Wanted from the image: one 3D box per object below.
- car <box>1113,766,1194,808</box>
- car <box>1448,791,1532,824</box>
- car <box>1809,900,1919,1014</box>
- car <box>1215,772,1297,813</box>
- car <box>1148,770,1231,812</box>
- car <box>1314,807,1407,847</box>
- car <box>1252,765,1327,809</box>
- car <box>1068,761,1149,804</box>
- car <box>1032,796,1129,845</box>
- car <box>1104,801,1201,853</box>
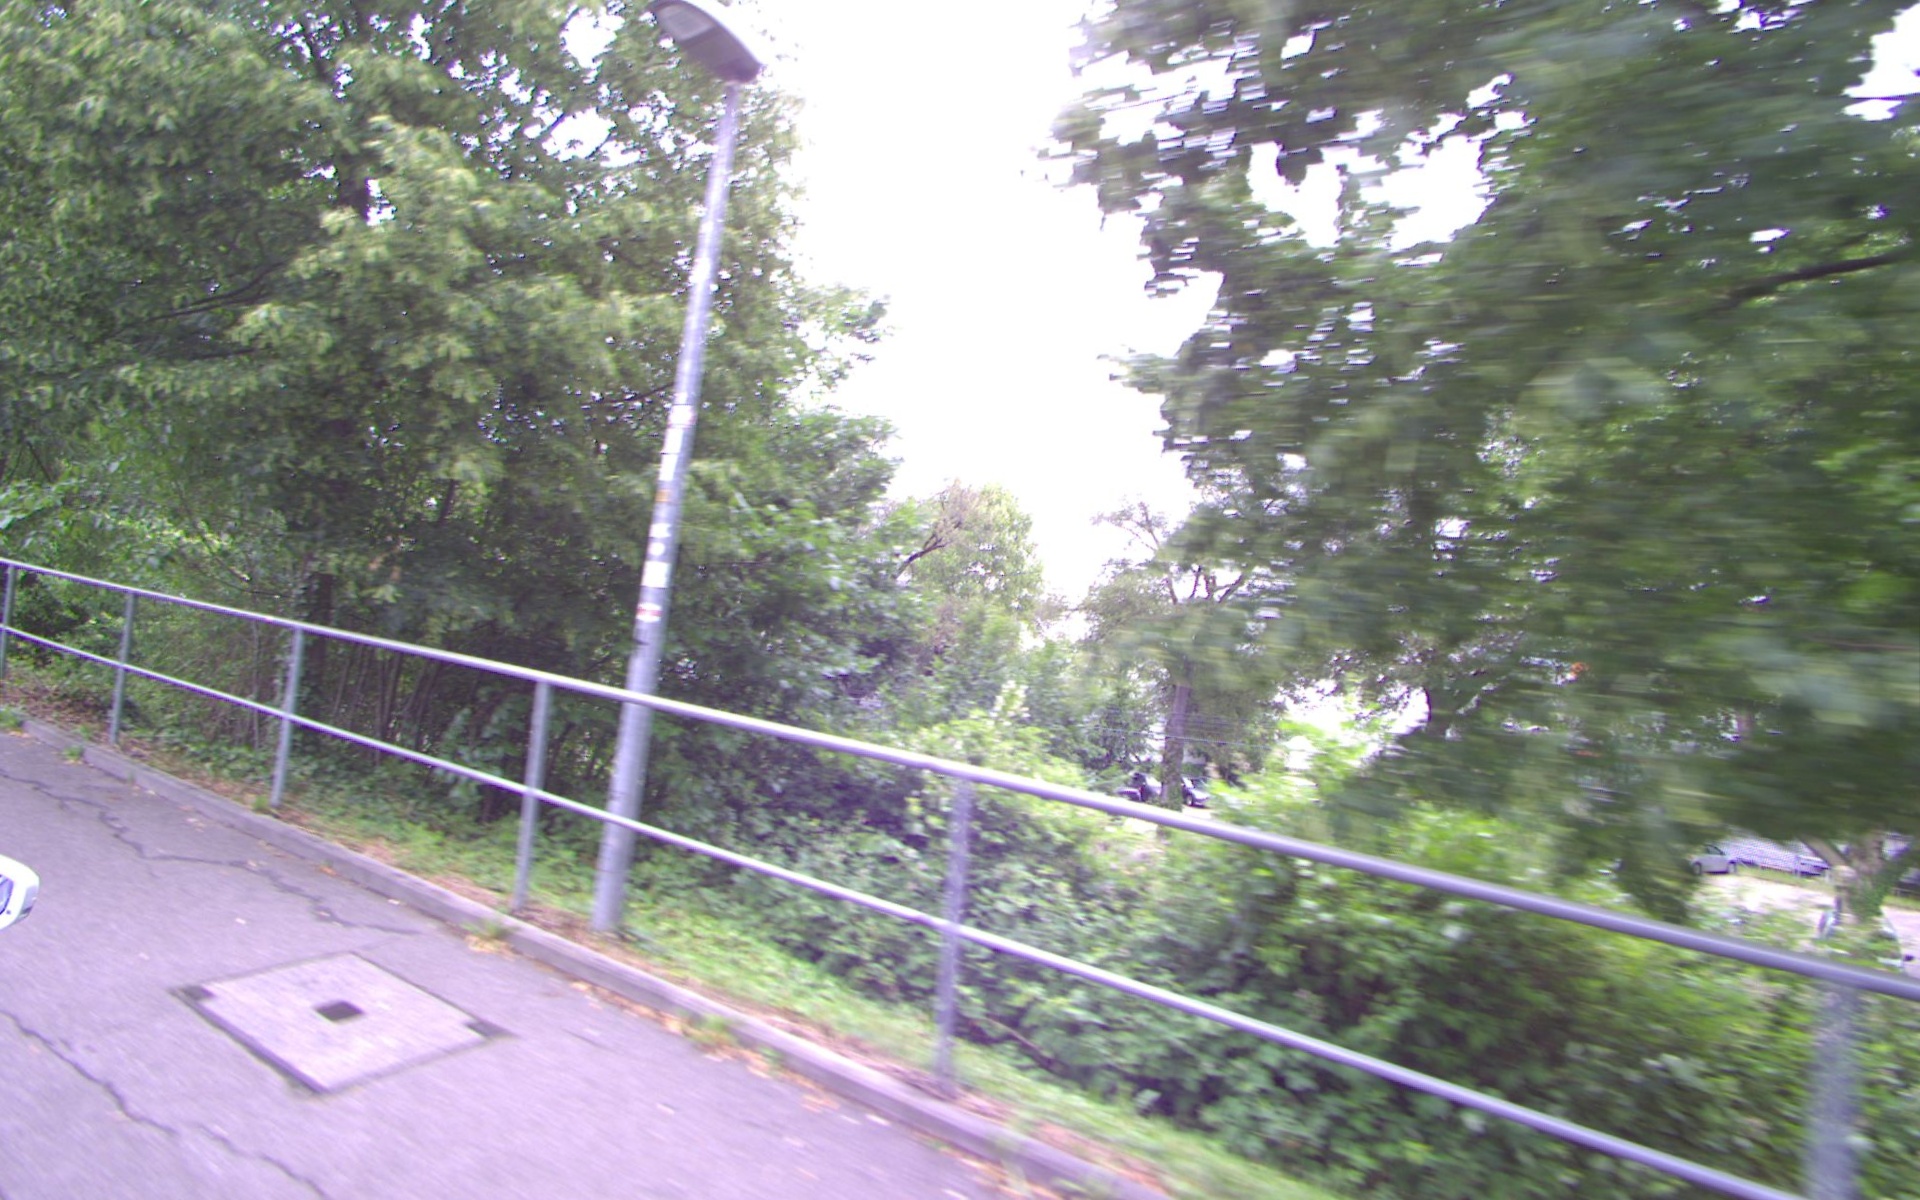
[{"bbox_3d":[10.622,10.275,55.516,1.979,1.485,4.312,8,-3,-30],"label":"car"},{"bbox_3d":[30.486,11.900,57.872,4.283,1.486,1.990,4,-1,-24],"label":"car"},{"bbox_3d":[24.447,9.547,27.307,1.972,1.812,4.566,5,-3,40],"label":"car"},{"bbox_3d":[17.148,11.166,58.476,1.979,1.485,4.312,8,-3,-30],"label":"car"},{"bbox_3d":[12.718,10.627,56.056,1.979,1.485,4.312,8,-3,-30],"label":"car"},{"bbox_3d":[20.036,11.332,50.263,4.297,1.485,1.986,9,-3,-30],"label":"car"},{"bbox_3d":[19.633,11.155,60.151,1.975,1.831,3.980,8,-3,-24],"label":"car"},{"bbox_3d":[7.995,9.893,54.574,1.979,1.485,4.312,8,-3,-30],"label":"car"},{"bbox_3d":[5.182,9.331,42.865,1.971,1.485,4.329,5,-3,39],"label":"car"},{"bbox_3d":[7.898,9.215,41.079,1.971,1.485,4.329,5,-3,39],"label":"car"}]
